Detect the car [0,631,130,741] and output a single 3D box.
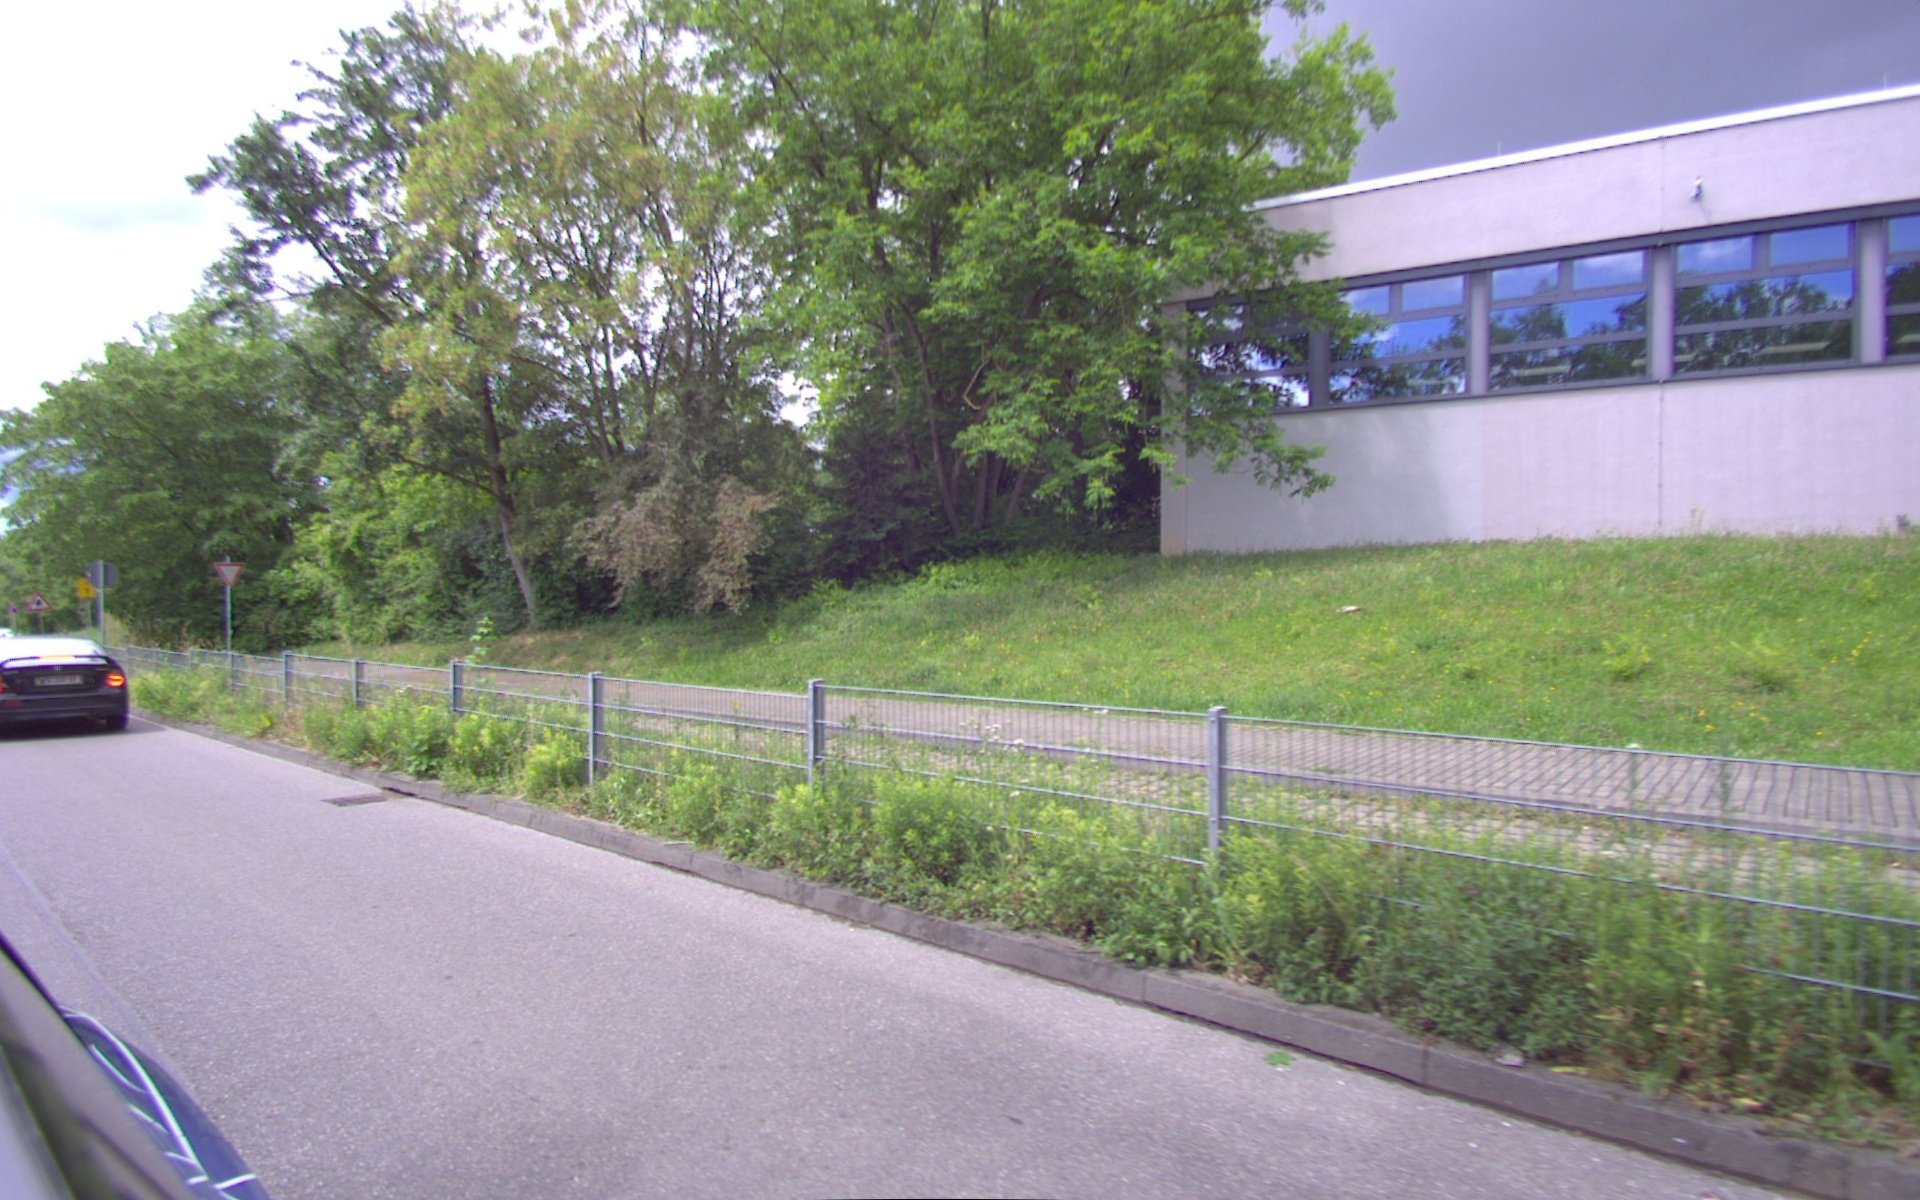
[{"bbox_3d":[-13.300,1.141,14.451,4.094,1.359,1.674,-2,-2,42],"label":"car"}]
